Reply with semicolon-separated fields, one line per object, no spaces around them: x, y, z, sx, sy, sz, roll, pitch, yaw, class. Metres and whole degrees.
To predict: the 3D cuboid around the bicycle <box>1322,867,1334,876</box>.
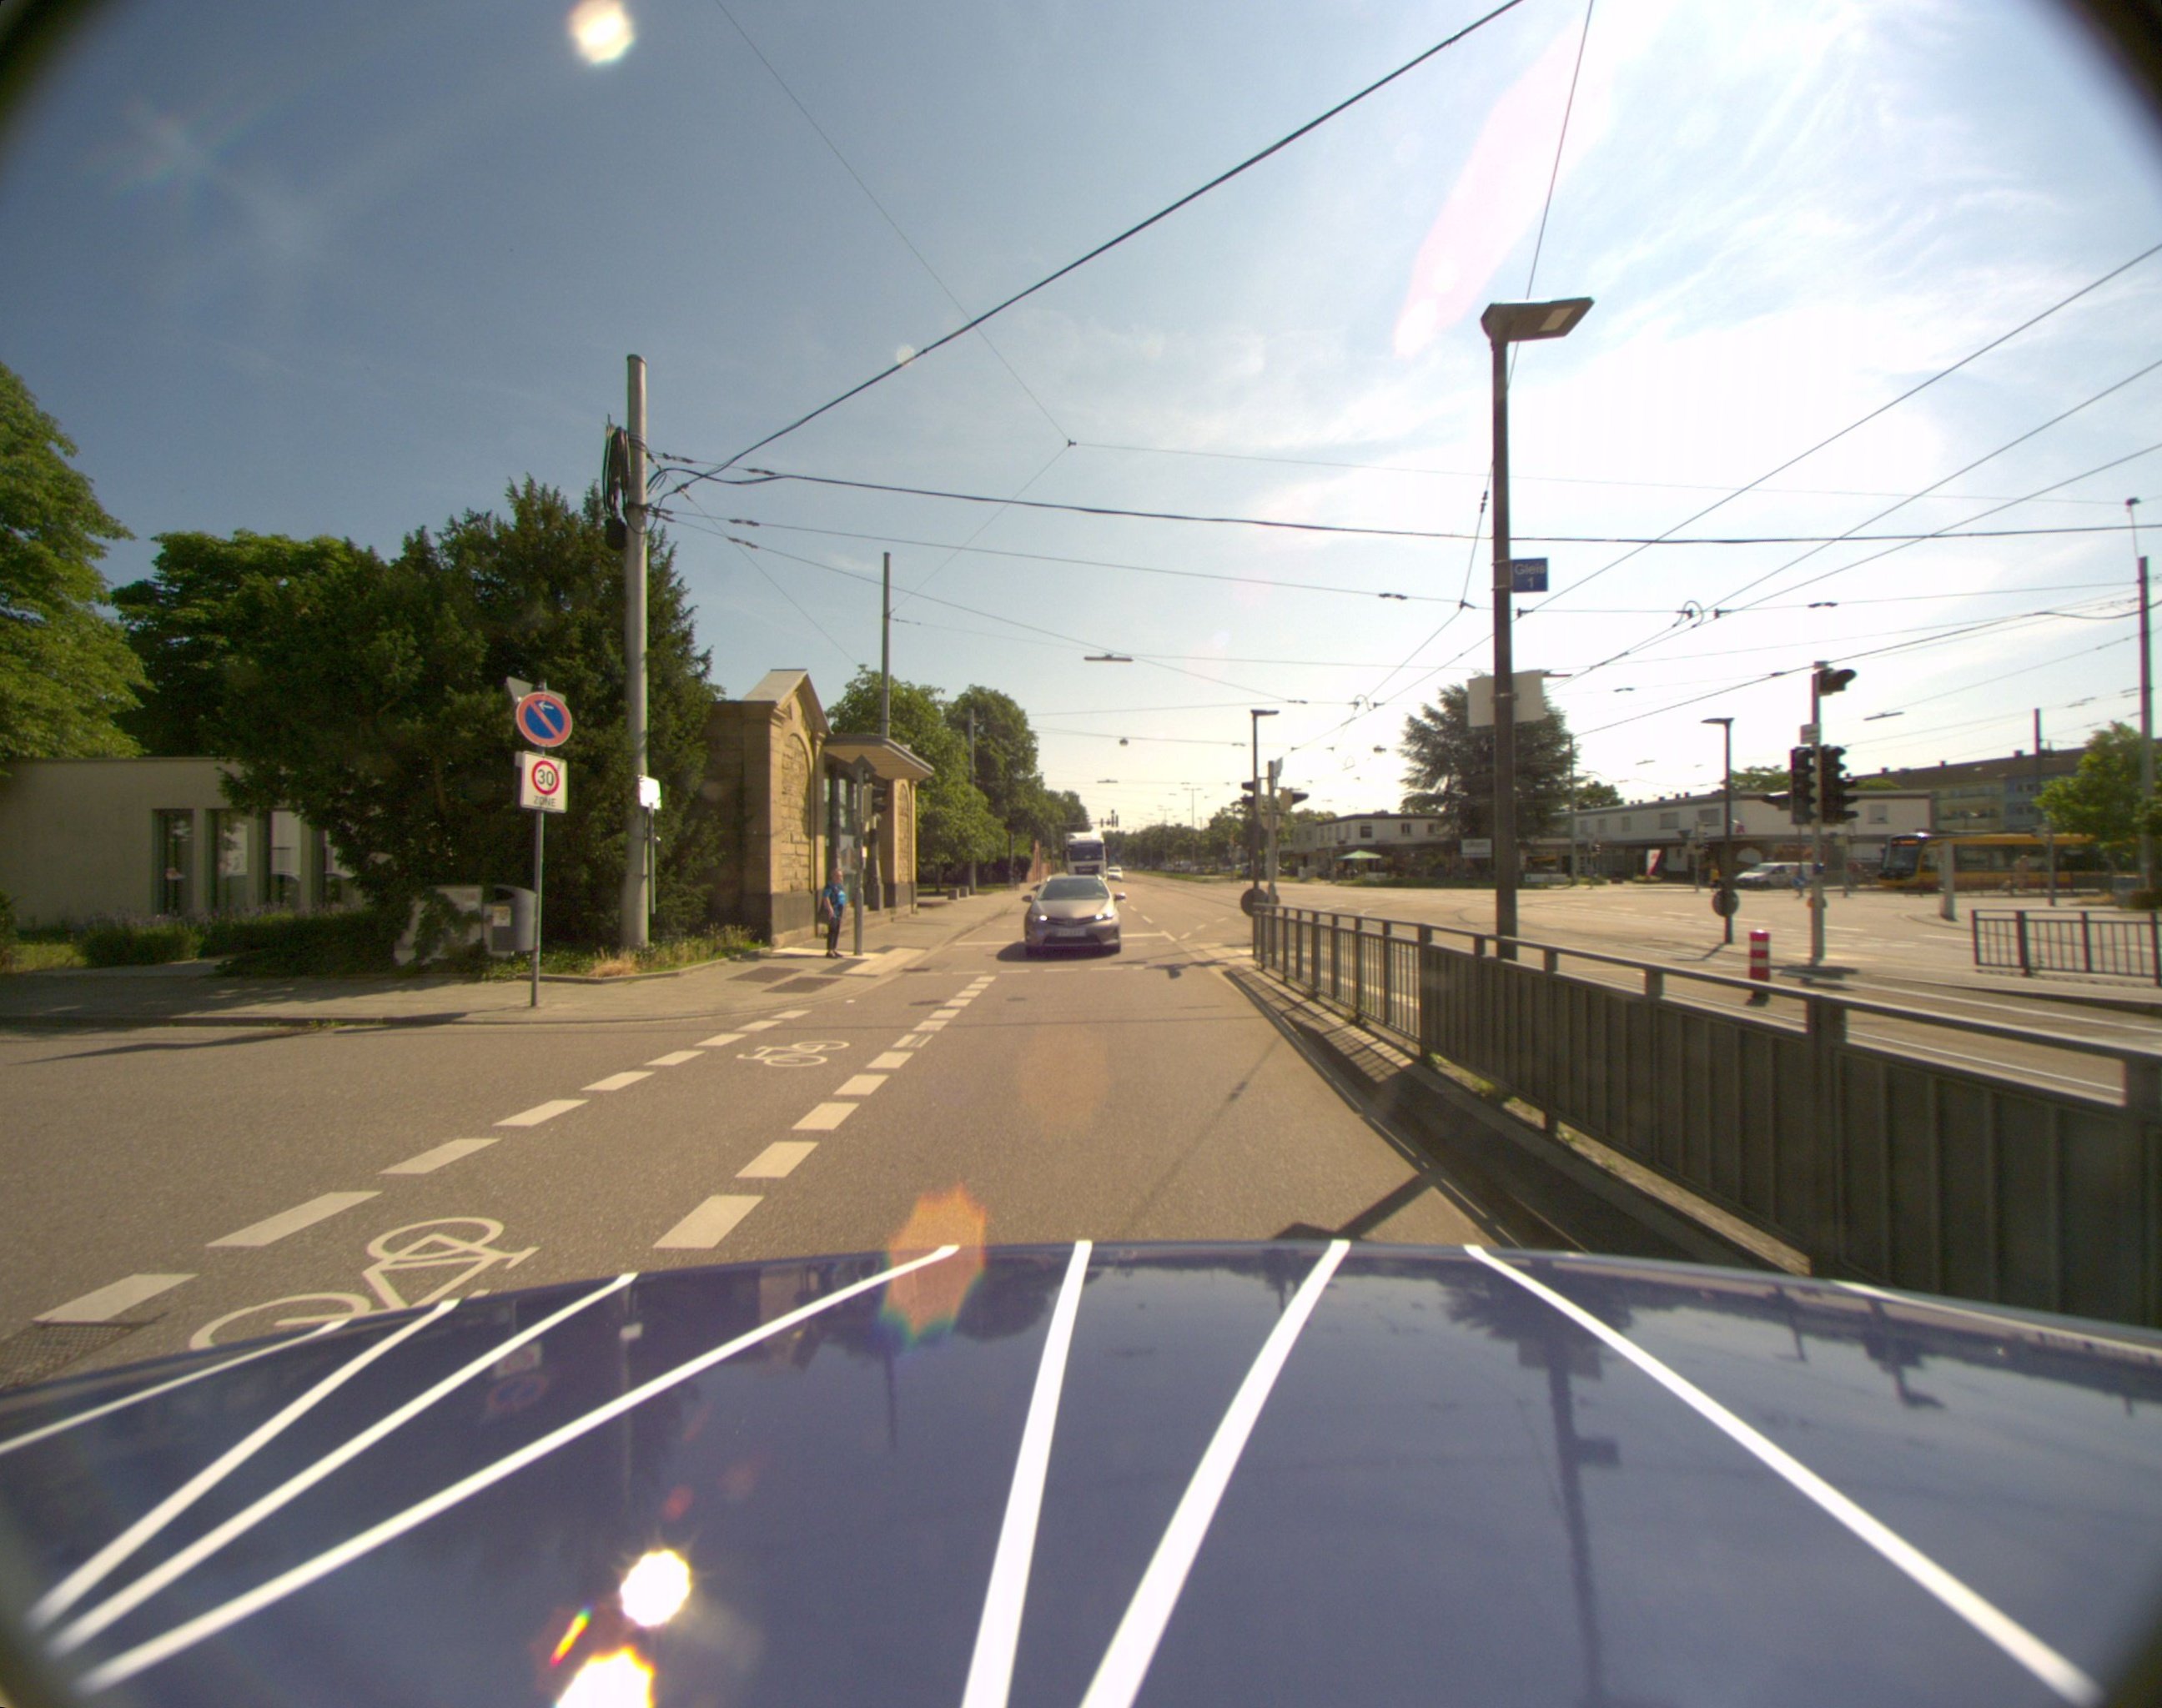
28.578;2.000;88.042;0.760;0.977;1.911;0;-1;1;bicycle

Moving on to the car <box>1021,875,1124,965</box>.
-0.113;1.206;15.366;1.742;1.424;4.463;-2;-1;1;car

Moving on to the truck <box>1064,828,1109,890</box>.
0.431;0.366;52.538;2.746;3.851;9.112;2;-1;1;truck

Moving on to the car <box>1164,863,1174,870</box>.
21.614;3.095;186.159;1.893;1.551;4.232;0;-1;0;car

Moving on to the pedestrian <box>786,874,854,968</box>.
-4.365;1.090;12.758;0.780;1.501;0.859;0;0;9;pedestrian

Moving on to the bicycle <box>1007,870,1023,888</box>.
-4.196;1.592;48.337;0.537;1.105;1.808;1;0;10;bicycle

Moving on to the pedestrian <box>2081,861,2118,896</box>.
51.232;1.224;38.223;0.811;1.749;0.764;0;0;2;pedestrian

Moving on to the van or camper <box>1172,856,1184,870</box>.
21.034;2.045;164.852;2.128;2.967;5.282;0;-1;0;van or camper

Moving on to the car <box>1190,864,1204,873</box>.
21.219;2.593;139.365;1.893;1.551;4.285;0;-1;0;car

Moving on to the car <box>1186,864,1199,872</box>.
21.149;2.691;144.565;1.893;1.486;4.232;0;-1;0;car

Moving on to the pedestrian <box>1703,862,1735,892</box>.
39.366;1.385;46.870;1.201;1.826;0.897;0;0;1;pedestrian

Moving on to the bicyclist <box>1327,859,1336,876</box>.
23.105;1.207;70.104;0.764;1.549;0.632;1;0;16;bicyclist

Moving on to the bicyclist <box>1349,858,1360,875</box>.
24.855;1.153;68.988;0.764;1.565;0.633;0;0;36;bicyclist

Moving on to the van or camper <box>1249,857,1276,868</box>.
45.647;2.205;191.171;6.081;2.714;2.300;0;0;3;van or camper

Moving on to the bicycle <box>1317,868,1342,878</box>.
22.958;1.745;70.163;2.132;0.941;0.536;0;0;17;bicycle

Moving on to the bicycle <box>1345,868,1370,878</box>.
25.009;1.756;68.834;0.577;0.885;2.130;0;-1;-39;bicycle

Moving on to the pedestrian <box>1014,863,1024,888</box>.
-3.924;1.371;48.350;0.542;1.539;0.663;2;0;0;pedestrian

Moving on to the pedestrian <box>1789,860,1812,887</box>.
44.267;1.210;46.762;0.659;1.617;0.785;0;0;1;pedestrian

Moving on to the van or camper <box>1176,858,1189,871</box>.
20.944;2.169;156.957;2.040;2.616;4.840;0;-1;0;van or camper

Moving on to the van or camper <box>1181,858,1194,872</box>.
20.993;2.127;149.900;2.040;2.616;4.840;0;-1;0;van or camper

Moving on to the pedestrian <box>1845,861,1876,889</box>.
47.782;1.274;46.569;1.093;1.670;0.814;0;0;1;pedestrian

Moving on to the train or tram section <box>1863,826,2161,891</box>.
53.671;0.289;44.007;13.898;3.636;2.769;0;0;0;train or tram section

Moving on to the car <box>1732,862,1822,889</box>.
48.615;1.470;53.104;4.656;1.851;1.777;0;0;1;car

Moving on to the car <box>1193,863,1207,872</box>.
20.955;2.344;133.863;1.892;1.486;4.286;-3;-1;2;car

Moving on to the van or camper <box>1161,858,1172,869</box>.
21.621;2.462;192.969;2.114;2.604;5.452;1;0;1;van or camper

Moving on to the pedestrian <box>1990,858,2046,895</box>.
47.669;1.124;38.666;1.437;1.825;1.123;0;0;3;pedestrian

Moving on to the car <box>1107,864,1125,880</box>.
3.624;1.888;79.946;1.770;1.552;4.067;1;-1;1;car

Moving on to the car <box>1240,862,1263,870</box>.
31.177;2.168;138.771;3.749;1.560;1.951;0;0;-1;car

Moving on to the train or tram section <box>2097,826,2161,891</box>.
67.585;0.278;43.947;13.898;3.636;2.769;0;0;0;train or tram section
